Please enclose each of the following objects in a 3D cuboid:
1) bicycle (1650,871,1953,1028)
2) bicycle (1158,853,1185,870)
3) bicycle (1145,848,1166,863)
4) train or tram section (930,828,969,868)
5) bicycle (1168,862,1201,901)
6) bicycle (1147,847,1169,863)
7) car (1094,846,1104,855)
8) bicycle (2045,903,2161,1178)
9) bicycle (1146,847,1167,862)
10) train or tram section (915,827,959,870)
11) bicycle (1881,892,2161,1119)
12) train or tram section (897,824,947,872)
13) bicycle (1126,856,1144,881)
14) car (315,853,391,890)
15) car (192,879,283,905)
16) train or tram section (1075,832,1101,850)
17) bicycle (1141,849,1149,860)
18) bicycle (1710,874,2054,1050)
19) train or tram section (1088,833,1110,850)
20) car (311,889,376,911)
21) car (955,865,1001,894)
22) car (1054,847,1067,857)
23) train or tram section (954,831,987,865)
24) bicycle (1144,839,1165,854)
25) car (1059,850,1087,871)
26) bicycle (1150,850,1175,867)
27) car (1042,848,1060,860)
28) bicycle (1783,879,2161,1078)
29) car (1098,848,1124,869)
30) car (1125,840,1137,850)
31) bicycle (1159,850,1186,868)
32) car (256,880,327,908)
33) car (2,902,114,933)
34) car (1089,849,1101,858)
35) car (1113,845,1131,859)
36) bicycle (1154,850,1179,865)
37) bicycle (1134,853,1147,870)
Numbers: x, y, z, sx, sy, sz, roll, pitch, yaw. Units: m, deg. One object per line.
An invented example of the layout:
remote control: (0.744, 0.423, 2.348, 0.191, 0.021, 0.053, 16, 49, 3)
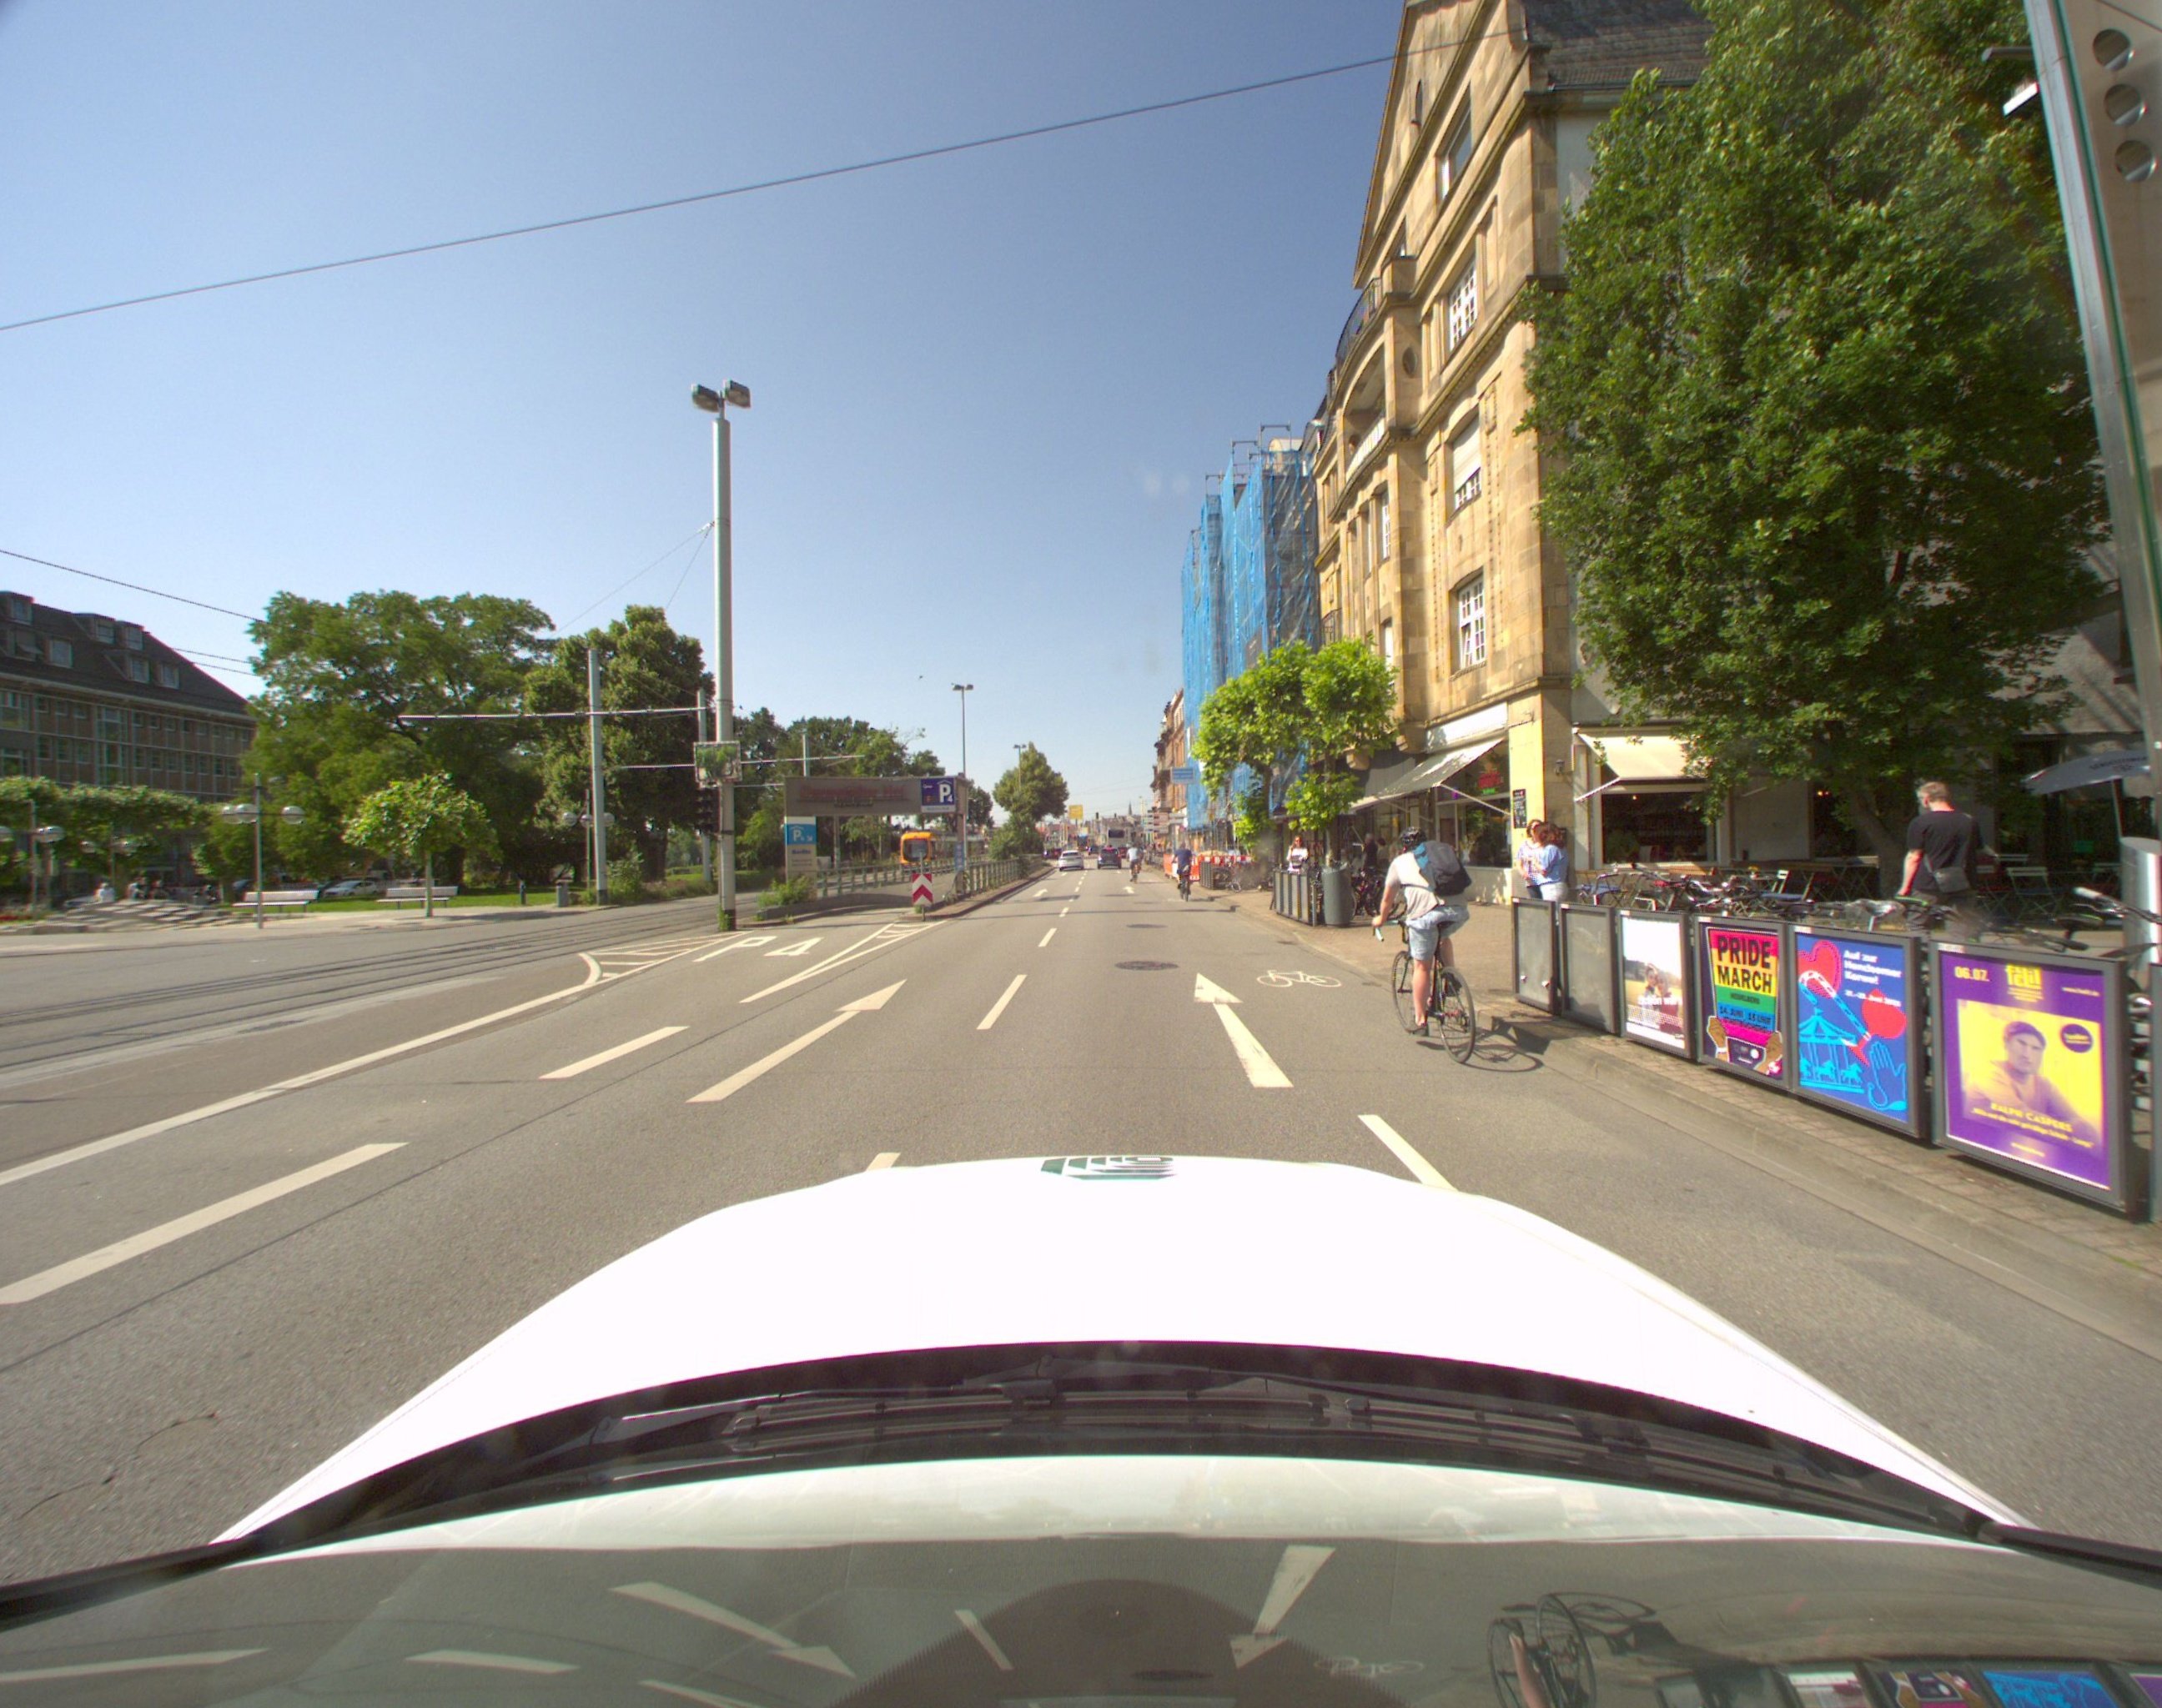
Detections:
bicycle: (5.108, 0.661, 5.820, 1.747, 1.018, 0.483, -1, 0, -1)
bicycle: (5.908, 0.468, 53.046, 1.687, 1.097, 0.609, -1, 0, 1)
bicycle: (6.098, 0.098, 66.765, 1.687, 1.178, 0.463, -1, 0, 1)
train or tram section: (-12.236, -0.532, 76.225, 2.604, 3.581, 5.358, 0, 0, 1)
bicycle: (3.078, 0.803, 24.377, 0.731, 1.093, 1.911, 0, 0, 0)
bicycle: (6.093, 0.054, 64.492, 1.687, 1.241, 0.609, -1, 0, 1)
car: (2.760, -0.556, 126.966, 1.446, 1.300, 3.344, 0, 0, 2)
bicycle: (5.007, 0.711, 3.259, 1.747, 1.018, 0.483, -1, 0, -1)
bicycle: (6.074, 0.069, 65.621, 1.687, 1.178, 0.491, -1, 0, 1)
train or tram section: (-12.362, -0.500, 70.511, 2.604, 3.581, 6.105, 0, 0, 1)
bicycle: (5.040, 0.711, 4.025, 1.712, 0.985, 0.483, -1, 0, -1)
train or tram section: (-12.514, -0.466, 64.433, 2.604, 3.581, 6.105, 0, 0, 1)
bicycle: (2.446, 0.645, 37.128, 0.731, 1.093, 1.898, 0, 0, 0)
car: (-67.343, 1.534, 75.475, 2.119, 3.316, 5.421, 0, 0, 1)
car: (-60.649, 2.700, 58.693, 1.752, 1.663, 4.837, 0, 0, -4)
train or tram section: (1.413, -2.589, 164.819, 2.802, 3.581, 10.072, 0, 0, 15)
bicycle: (6.306, 0.009, 80.232, 0.731, 1.093, 1.898, 0, 0, 0)
bicycle: (5.100, 0.664, 5.233, 1.747, 1.018, 0.483, -1, 0, -1)
train or tram section: (3.829, -2.631, 173.674, 2.802, 3.581, 8.259, 0, 0, 15)
car: (-59.045, 3.644, 65.308, 1.752, 1.508, 3.994, 0, 0, -4)
car: (-5.877, 1.438, 47.011, 1.986, 1.508, 4.003, 0, 0, 2)
car: (-2.636, -0.255, 106.247, 1.446, 1.300, 4.003, 0, 0, 2)
train or tram section: (-11.966, -0.603, 88.837, 2.604, 3.581, 6.019, 0, 0, 1)
bicycle: (6.228, -0.613, 68.914, 1.687, 1.178, 0.609, -3, 1, 1)
car: (-0.548, 0.454, 59.604, 1.851, 1.507, 4.003, 0, 0, 2)
bicycle: (5.985, 0.331, 59.918, 1.764, 1.178, 0.609, -1, 0, 1)
car: (-3.481, 0.015, 96.192, 1.808, 1.332, 4.003, 0, 0, 2)
bicycle: (5.093, 0.682, 4.659, 1.747, 1.018, 0.483, -1, 0, -1)
car: (2.207, 0.306, 59.825, 1.866, 1.492, 4.003, 0, 0, 2)
car: (10.716, -1.949, 175.415, 1.981, 1.877, 4.013, -3, 1, 11)
bicycle: (5.884, 0.319, 52.250, 1.687, 1.178, 0.609, -1, 0, 1)
car: (-62.403, 3.163, 64.424, 1.986, 2.013, 3.645, 0, 0, 1)
car: (-60.758, 3.736, 48.475, 1.752, 1.508, 3.994, 0, 0, -4)
car: (2.018, -0.137, 117.649, 1.445, 1.300, 3.346, 0, 0, 4)
car: (4.661, -0.254, 92.697, 1.986, 1.492, 4.003, 0, 0, 2)
bicycle: (6.141, 0.244, 58.473, 1.687, 1.087, 0.609, -1, 0, 1)
bicycle: (3.837, 0.476, 52.418, 0.731, 1.093, 1.898, 0, 0, 1)
